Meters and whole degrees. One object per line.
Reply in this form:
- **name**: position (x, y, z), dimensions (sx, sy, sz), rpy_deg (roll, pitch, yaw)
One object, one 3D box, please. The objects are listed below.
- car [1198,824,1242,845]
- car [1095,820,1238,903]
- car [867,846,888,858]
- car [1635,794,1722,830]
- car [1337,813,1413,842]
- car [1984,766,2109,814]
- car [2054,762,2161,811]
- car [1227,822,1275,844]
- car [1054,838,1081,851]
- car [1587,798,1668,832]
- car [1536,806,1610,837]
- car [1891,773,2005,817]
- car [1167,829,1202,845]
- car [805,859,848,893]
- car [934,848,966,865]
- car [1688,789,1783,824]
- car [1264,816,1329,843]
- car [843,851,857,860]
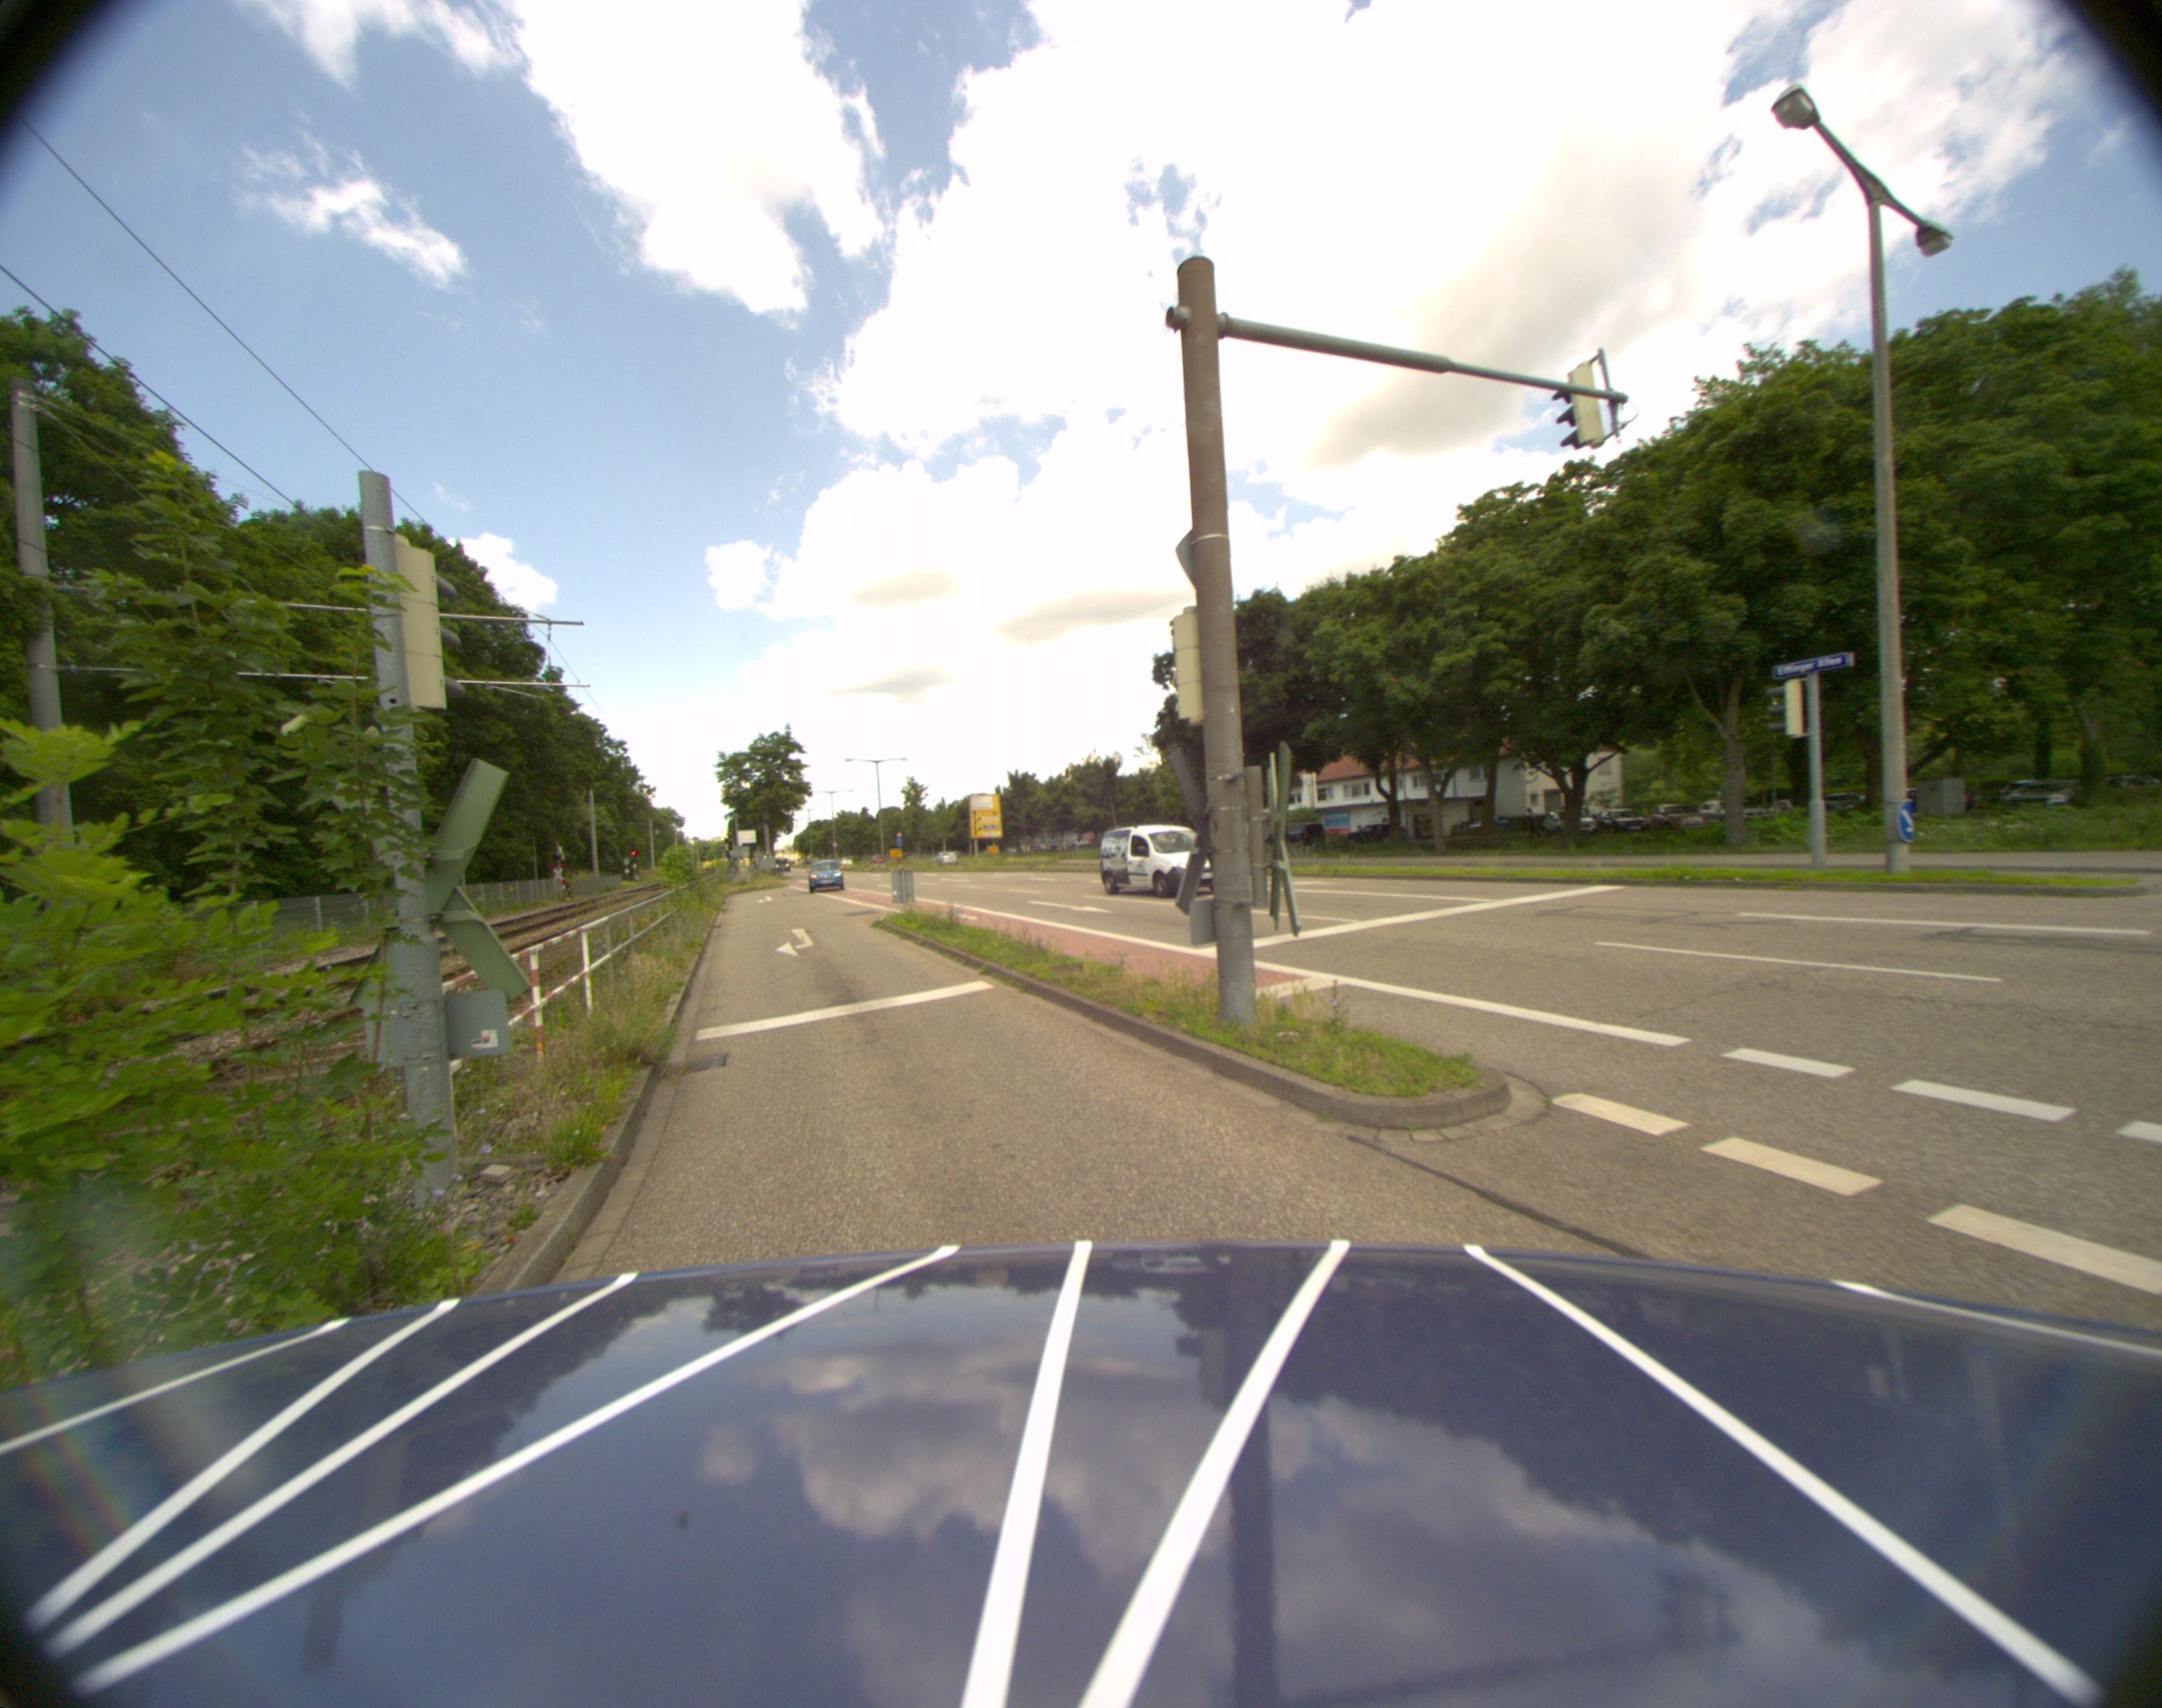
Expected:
- **car**: position (11.953, -1.667, 65.465), dimensions (1.765, 1.578, 4.015), rpy_deg (-4, 1, -23)
- **car**: position (2.051, 0.169, 19.449), dimensions (1.750, 1.775, 4.148), rpy_deg (-5, 2, -22)
- **car**: position (-27.651, -0.261, 103.055), dimensions (1.895, 1.503, 3.991), rpy_deg (-6, 2, -26)
- **car**: position (31.079, -2.141, 39.684), dimensions (1.997, 1.578, 4.027), rpy_deg (-3, 0, 13)
- **car**: position (19.342, -1.728, 50.107), dimensions (1.815, 1.648, 4.353), rpy_deg (-6, 3, -34)
- **car**: position (41.153, -2.711, 32.400), dimensions (4.129, 1.700, 1.816), rpy_deg (-4, 2, -15)
- **car**: position (41.721, -2.711, 30.149), dimensions (4.578, 1.715, 2.044), rpy_deg (-4, 1, -12)
- **car**: position (13.755, -1.708, 61.530), dimensions (1.924, 1.578, 3.659), rpy_deg (-4, 1, -23)
- **car**: position (-1.771, -1.204, 97.831), dimensions (2.002, 1.578, 4.015), rpy_deg (-4, 1, -23)
- **car**: position (28.678, -2.011, 40.041), dimensions (1.997, 1.578, 4.026), rpy_deg (-3, 1, 13)
- **car**: position (26.100, -1.706, 40.490), dimensions (1.997, 1.475, 4.026), rpy_deg (-3, 1, 13)
- **car**: position (39.757, -2.685, 34.867), dimensions (4.129, 1.718, 1.816), rpy_deg (-4, 2, -15)
- **car**: position (9.554, -1.554, 70.270), dimensions (1.628, 1.324, 3.470), rpy_deg (-4, 1, -23)
- **car**: position (-12.441, 1.022, 37.066), dimensions (1.607, 1.456, 3.696), rpy_deg (-3, 1, -23)
- **car**: position (-12.838, 0.252, 74.163), dimensions (1.807, 1.424, 4.487), rpy_deg (-4, 1, -26)
- **car**: position (33.481, -2.410, 39.026), dimensions (1.997, 1.536, 4.026), rpy_deg (-3, 1, 13)
- **car**: position (15.848, -1.764, 56.176), dimensions (1.890, 1.701, 4.920), rpy_deg (-4, 1, -23)
- **car**: position (-37.601, 0.236, 123.688), dimensions (1.618, 1.437, 3.586), rpy_deg (-6, 2, -26)
